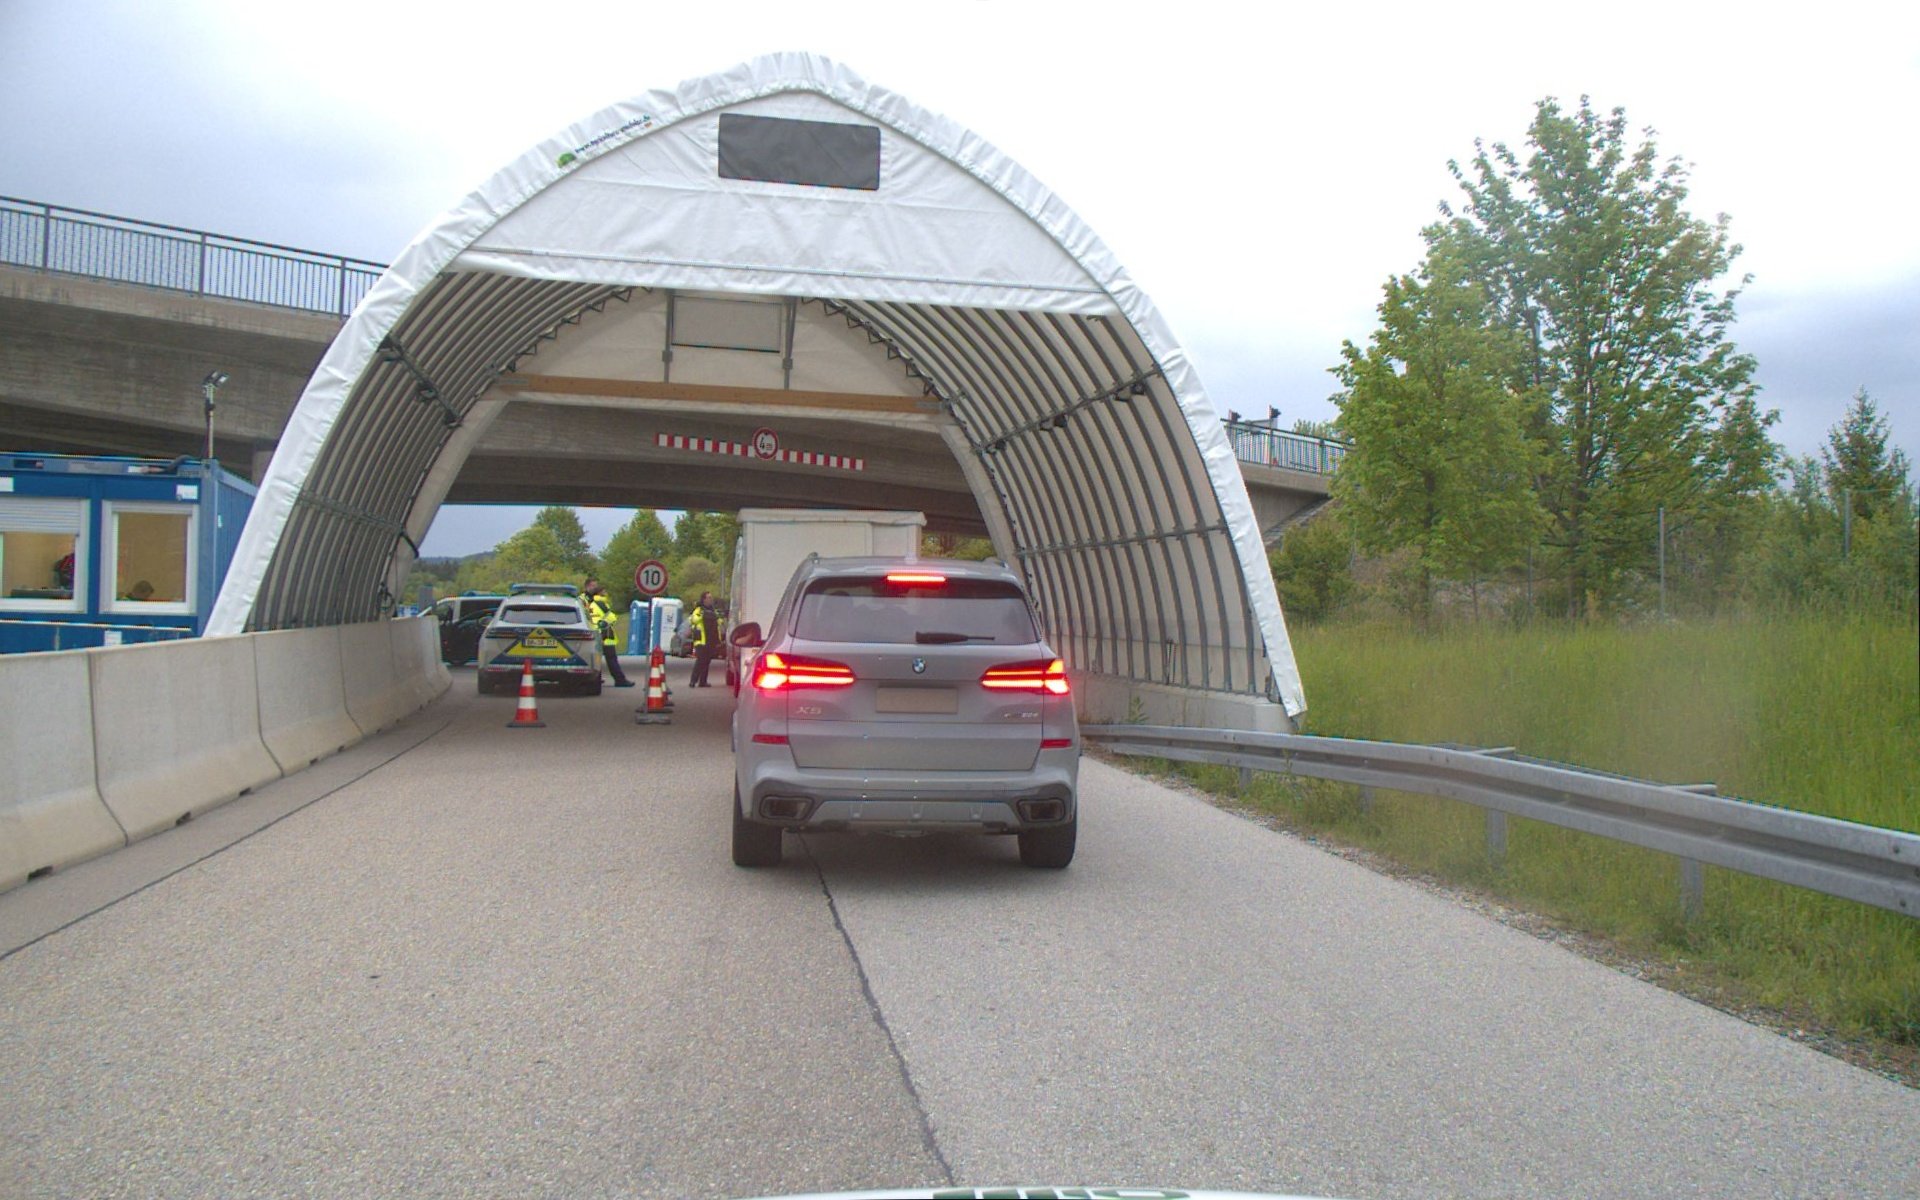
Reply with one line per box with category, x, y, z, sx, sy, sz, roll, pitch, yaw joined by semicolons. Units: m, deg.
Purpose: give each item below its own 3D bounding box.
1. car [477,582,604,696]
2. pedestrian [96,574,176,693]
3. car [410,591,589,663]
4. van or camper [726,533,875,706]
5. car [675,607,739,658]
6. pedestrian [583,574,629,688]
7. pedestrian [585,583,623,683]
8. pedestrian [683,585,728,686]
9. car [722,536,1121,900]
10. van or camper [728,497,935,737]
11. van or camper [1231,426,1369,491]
car;-6.755;0.592;26.632;1.846;1.675;3.984;0;0;-15
pedestrian;-9.847;0.395;19.782;0.597;1.397;0.628;0;-1;8
car;-13.532;0.772;48.714;4.703;2.049;1.842;0;-1;7
van or camper;-2.762;0.303;27.428;2.065;2.563;5.538;0;0;-10
car;-8.934;1.117;58.240;1.959;1.752;3.883;0;0;-13
pedestrian;-6.172;0.540;28.826;0.736;1.952;0.760;0;-1;-15
pedestrian;-6.428;0.599;29.878;0.597;1.784;0.665;0;-1;-6
pedestrian;-4.505;0.624;29.268;0.741;1.752;0.779;0;-1;-13
car;-0.458;0.597;10.320;1.957;1.796;3.991;0;0;-9
van or camper;-1.852;0.206;21.367;2.189;2.597;6.597;0;0;-9
van or camper;12.167;-4.990;58.949;5.400;1.801;1.869;1;-1;-40
